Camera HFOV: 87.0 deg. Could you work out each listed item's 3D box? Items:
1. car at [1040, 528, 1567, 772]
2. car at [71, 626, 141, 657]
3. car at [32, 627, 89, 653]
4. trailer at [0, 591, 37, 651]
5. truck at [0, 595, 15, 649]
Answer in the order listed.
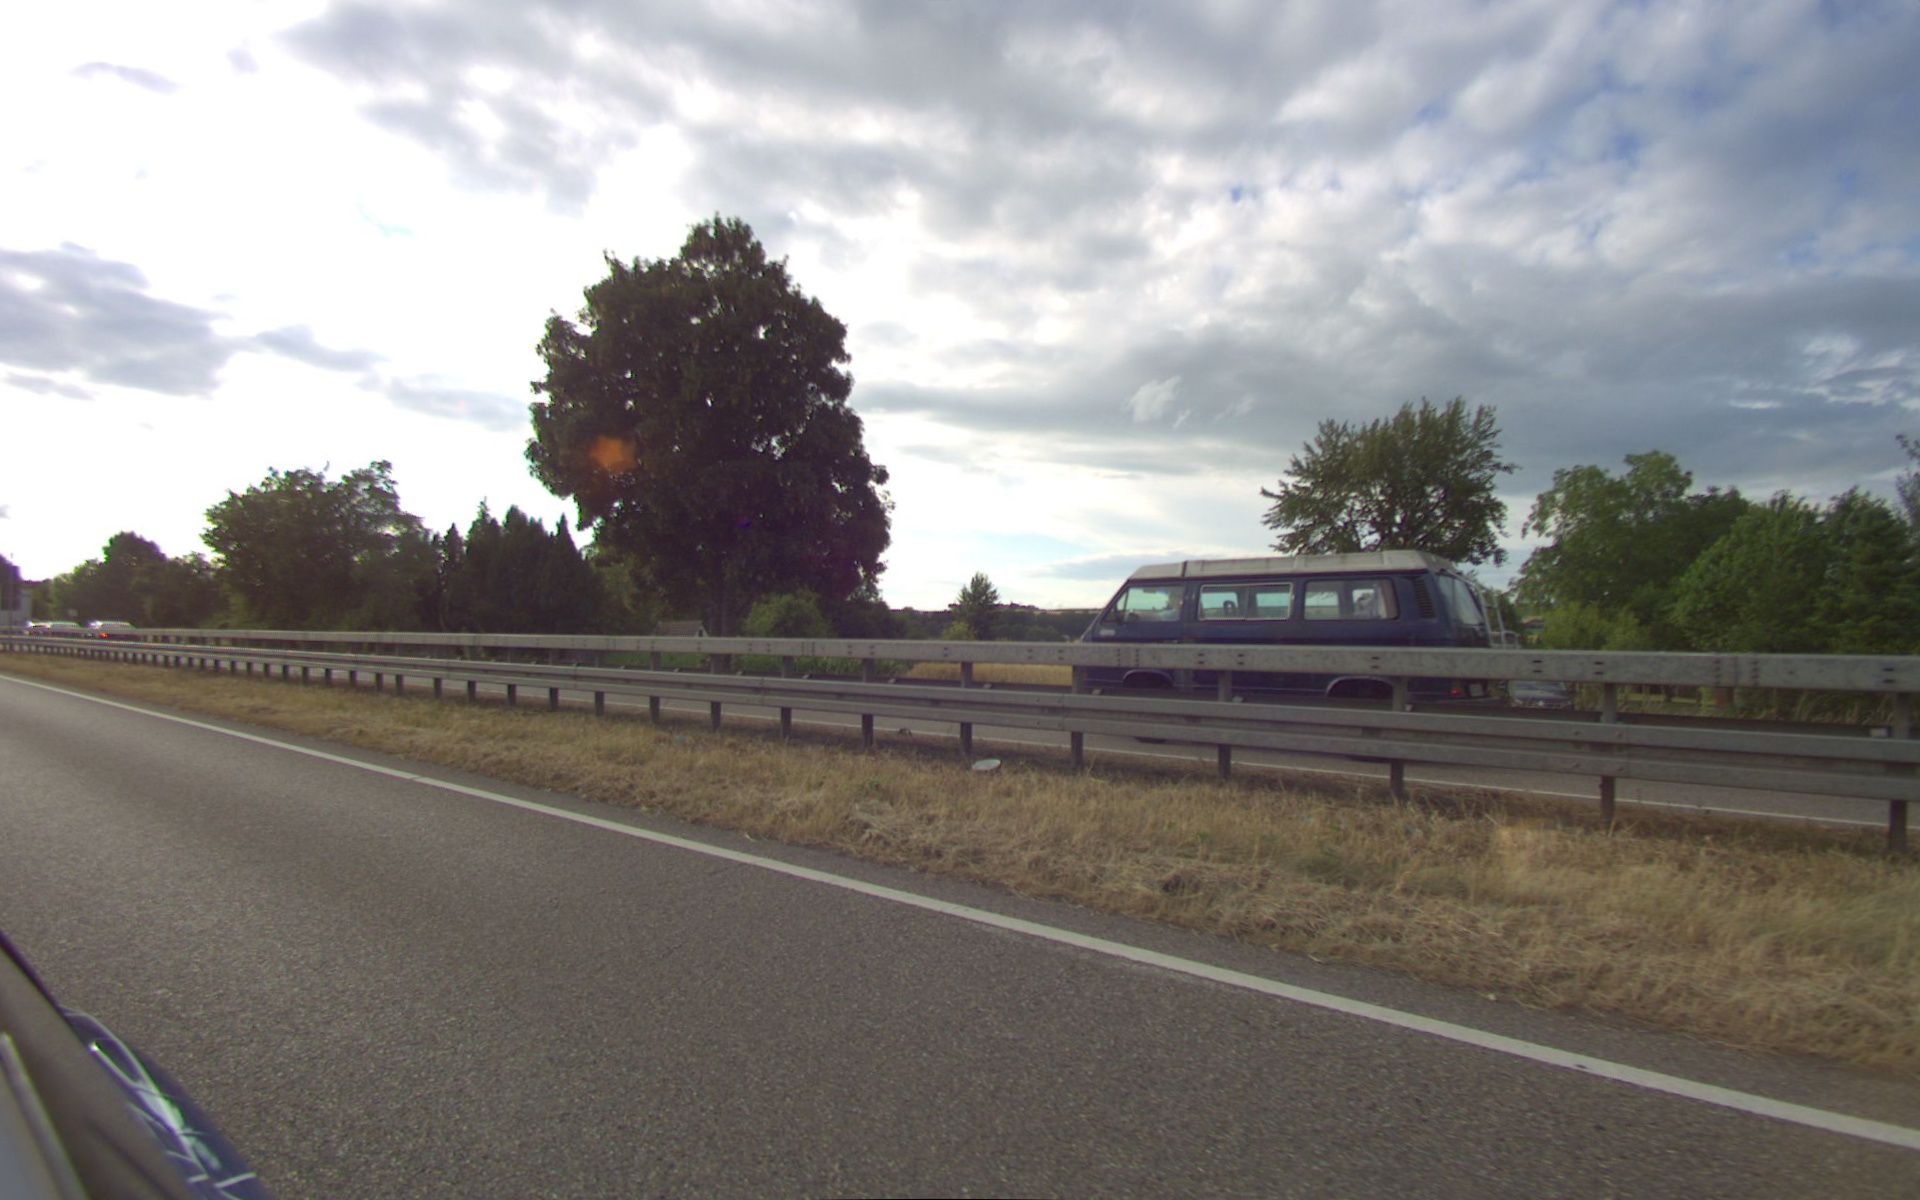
[{"bbox_3d":[3.618,0.525,11.466,5.317,2.157,1.972,-1,-3,42],"label":"car"},{"bbox_3d":[-42.925,2.091,50.822,4.931,1.489,1.847,-2,-3,40],"label":"car"},{"bbox_3d":[-53.646,2.353,60.340,4.821,1.489,1.847,-2,-3,40],"label":"car"},{"bbox_3d":[-72.909,1.584,76.001,13.906,4.182,3.429,-1,-4,40],"label":"trailer"},{"bbox_3d":[-77.831,1.699,80.208,6.045,4.182,3.439,-1,-4,40],"label":"truck"}]
